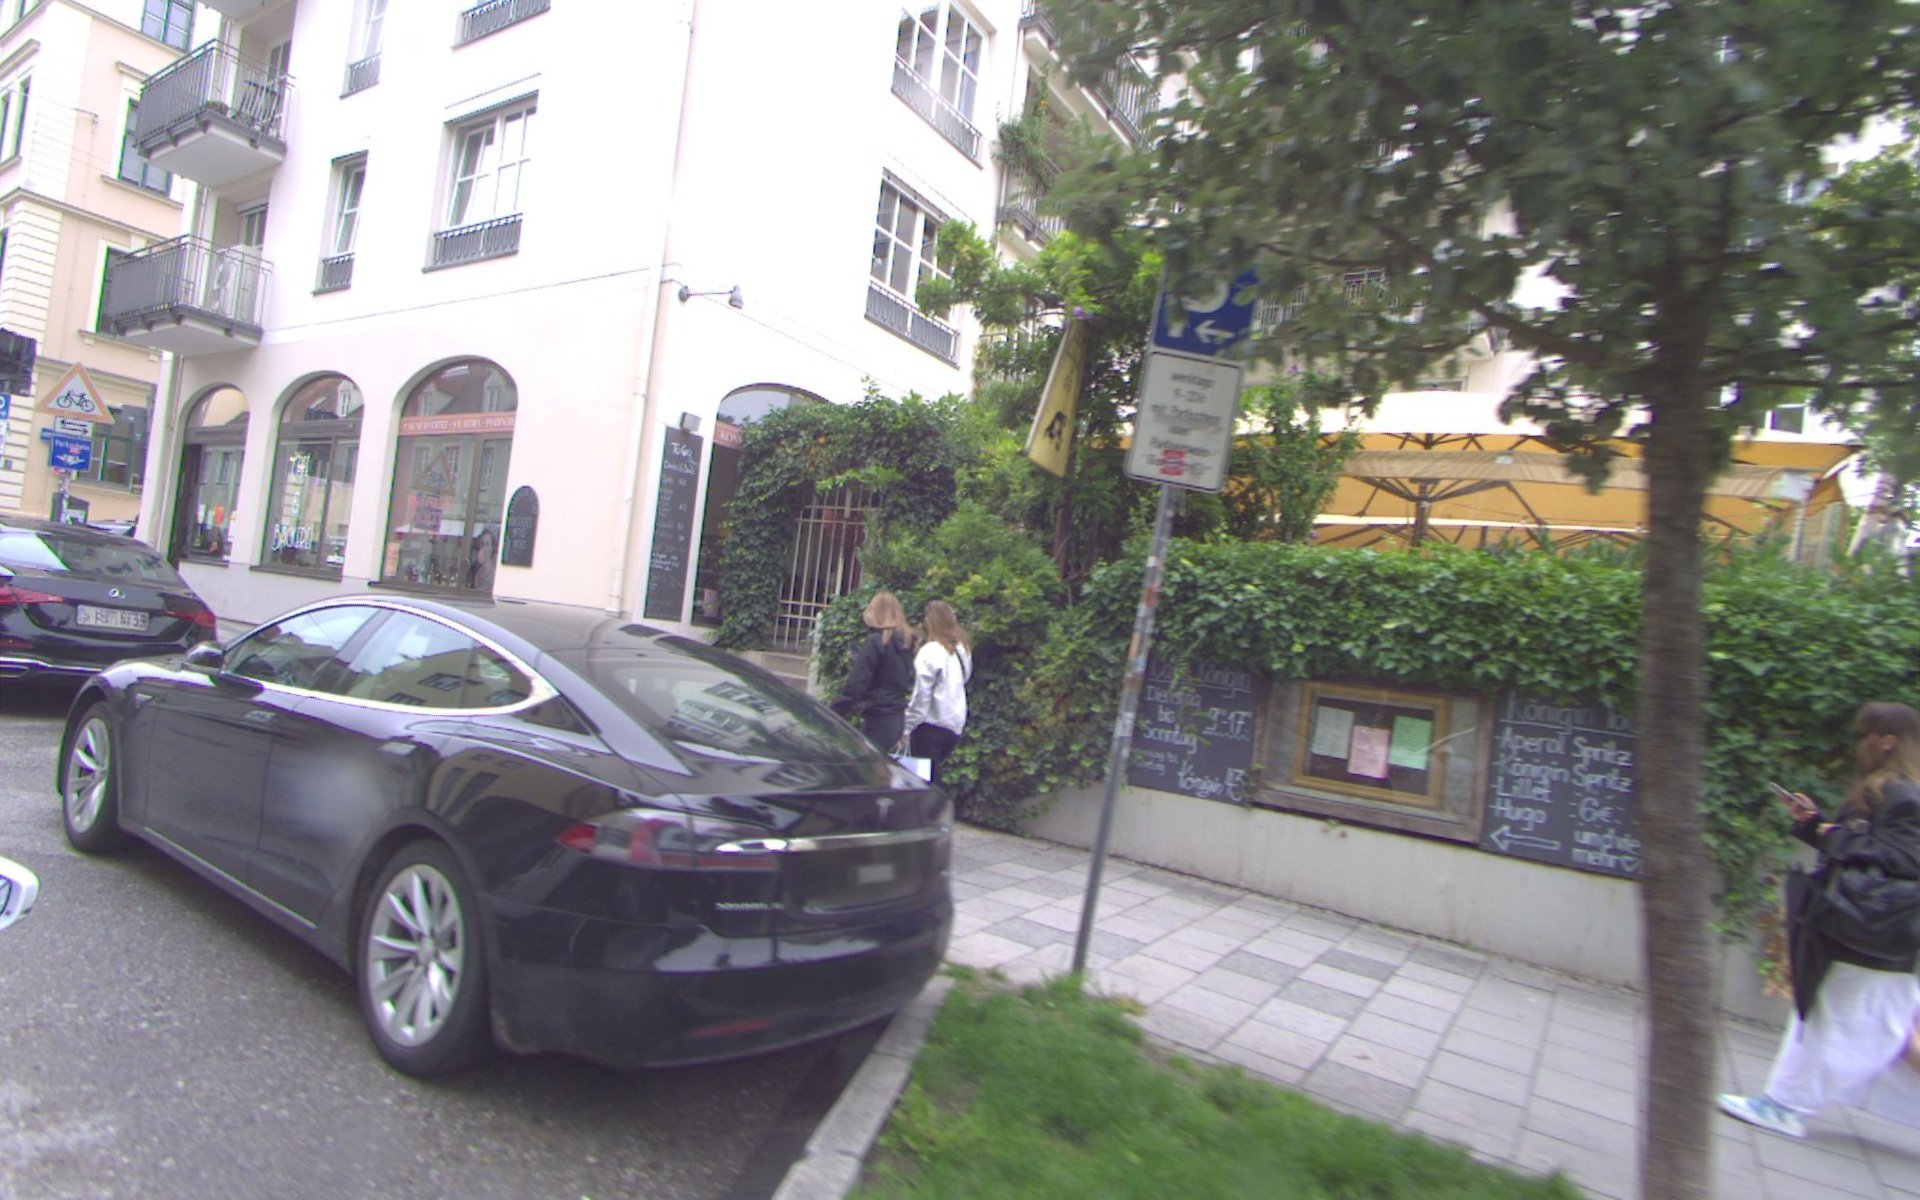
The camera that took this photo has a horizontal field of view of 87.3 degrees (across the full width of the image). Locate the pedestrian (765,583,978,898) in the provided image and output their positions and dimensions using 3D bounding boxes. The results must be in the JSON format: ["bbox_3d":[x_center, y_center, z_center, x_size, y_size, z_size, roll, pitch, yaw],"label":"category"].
[{"bbox_3d":[-0.523,0.796,6.037,0.866,1.680,0.706,5,-2,33],"label":"pedestrian"}]

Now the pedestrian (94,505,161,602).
[{"bbox_3d":[-15.164,-0.848,18.328,0.518,1.666,0.636,5,-2,26],"label":"pedestrian"}]

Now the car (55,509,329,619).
[{"bbox_3d":[-15.902,-0.678,21.045,1.726,1.624,4.095,8,-1,33],"label":"car"}]

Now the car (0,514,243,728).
[{"bbox_3d":[-8.259,-0.001,8.746,4.436,1.440,1.650,7,-4,33],"label":"car"}]

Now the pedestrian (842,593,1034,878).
[{"bbox_3d":[-0.138,0.853,6.645,0.866,1.680,0.706,5,-2,33],"label":"pedestrian"}]

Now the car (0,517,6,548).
[{"bbox_3d":[-12.913,-0.527,11.594,4.134,1.440,1.680,7,-4,32],"label":"car"}]

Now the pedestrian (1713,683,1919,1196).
[{"bbox_3d":[3.379,1.175,3.656,0.866,1.641,0.706,5,-2,33],"label":"pedestrian"}]

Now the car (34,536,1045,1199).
[{"bbox_3d":[-2.129,0.707,4.444,4.582,1.426,1.806,7,-3,35],"label":"car"}]
